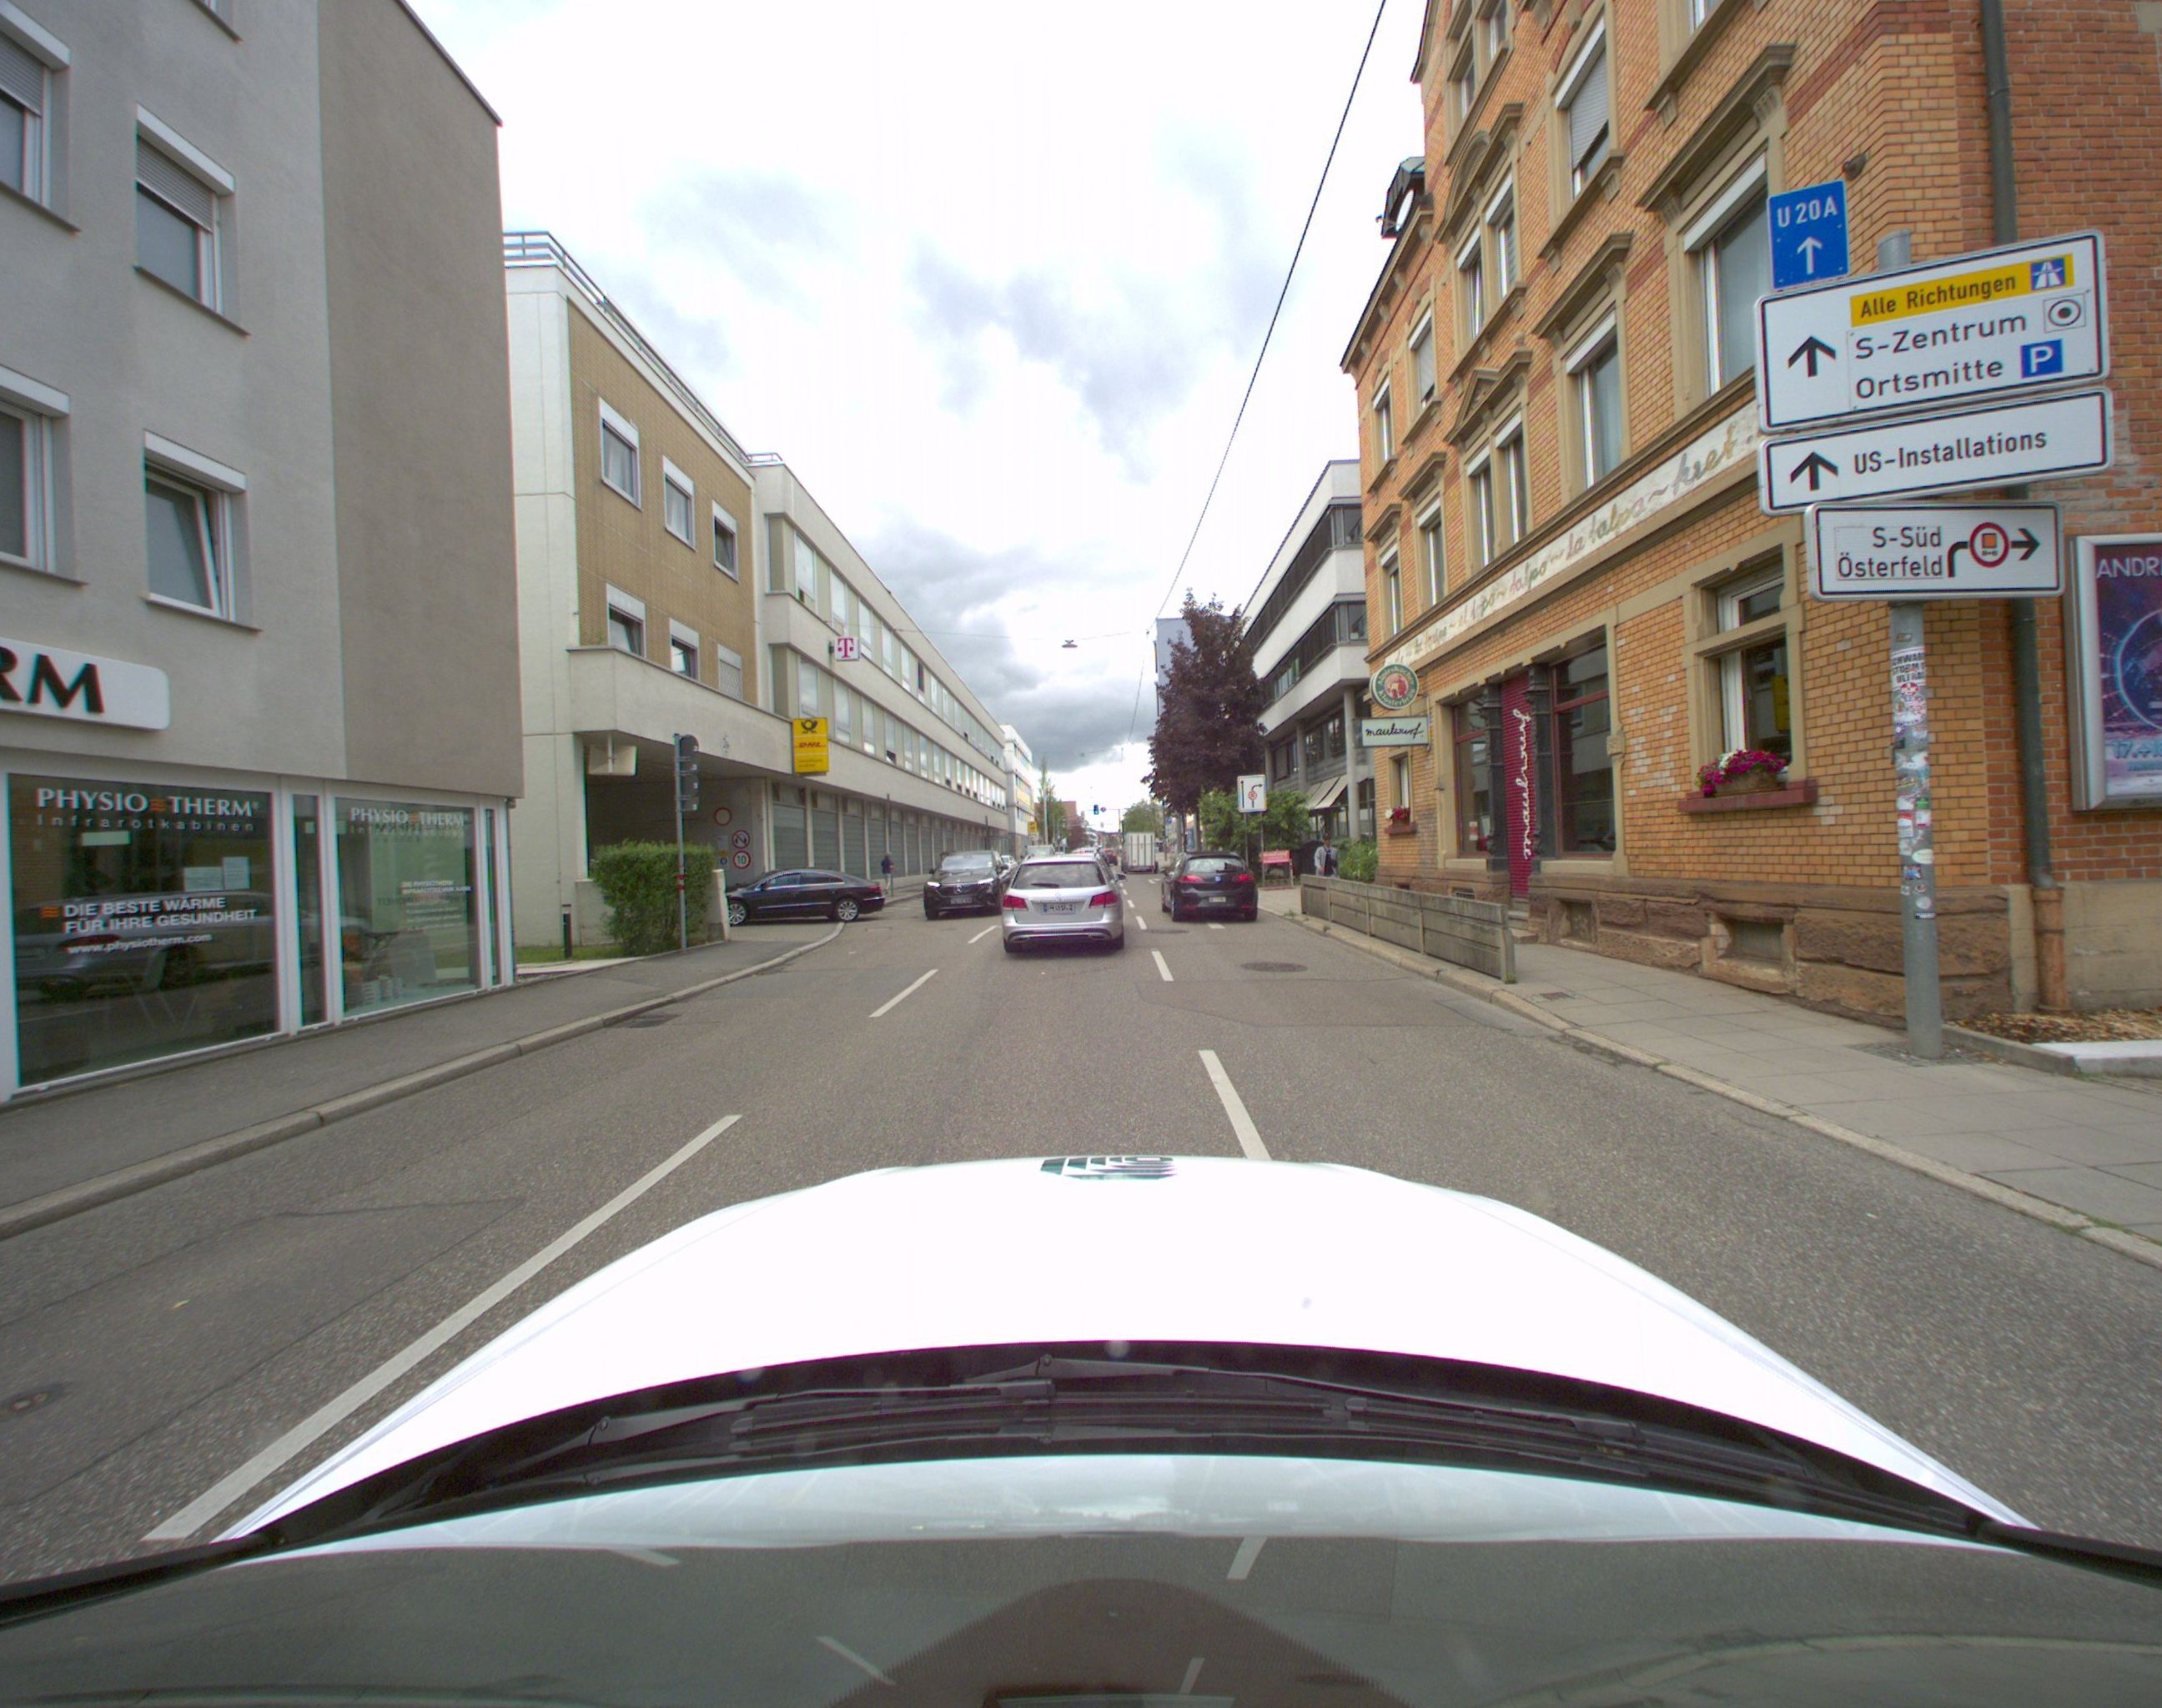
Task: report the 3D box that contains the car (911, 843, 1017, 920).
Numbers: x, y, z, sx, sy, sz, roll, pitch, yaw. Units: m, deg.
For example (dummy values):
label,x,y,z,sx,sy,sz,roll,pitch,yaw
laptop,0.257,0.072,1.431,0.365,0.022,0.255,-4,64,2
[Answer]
label,x,y,z,sx,sy,sz,roll,pitch,yaw
car,-3.013,0.647,22.003,1.987,1.738,4.554,-4,0,1

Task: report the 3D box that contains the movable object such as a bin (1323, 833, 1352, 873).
label,x,y,z,sx,sy,sz,roll,pitch,yaw
movable object such as a bin,10.215,-0.034,32.421,0.817,1.504,0.732,-5,-1,2

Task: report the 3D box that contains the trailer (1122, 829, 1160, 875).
label,x,y,z,sx,sy,sz,roll,pitch,yaw
trailer,3.649,-0.157,50.347,1.986,2.607,5.350,-2,0,1

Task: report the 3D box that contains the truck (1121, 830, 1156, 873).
label,x,y,z,sx,sy,sz,roll,pitch,yaw
truck,3.698,-0.185,53.110,1.986,2.607,3.261,-2,0,1

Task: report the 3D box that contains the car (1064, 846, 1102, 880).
label,x,y,z,sx,sy,sz,roll,pitch,yaw
car,0.151,0.402,41.297,1.797,1.601,3.738,-1,0,1

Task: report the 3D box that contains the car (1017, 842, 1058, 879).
label,x,y,z,sx,sy,sz,roll,pitch,yaw
car,-2.580,0.342,49.532,1.986,2.013,4.903,-4,0,1

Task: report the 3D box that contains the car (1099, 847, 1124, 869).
label,x,y,z,sx,sy,sz,roll,pitch,yaw
car,2.326,0.318,62.946,1.797,1.601,3.738,-1,0,1

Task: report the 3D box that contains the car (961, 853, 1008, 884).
label,x,y,z,sx,sy,sz,roll,pitch,yaw
car,-5.227,0.770,44.618,1.986,1.516,4.176,-2,0,1

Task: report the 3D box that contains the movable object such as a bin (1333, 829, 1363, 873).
label,x,y,z,sx,sy,sz,roll,pitch,yaw
movable object such as a bin,10.129,-0.096,30.909,0.817,1.589,0.732,-5,-1,2

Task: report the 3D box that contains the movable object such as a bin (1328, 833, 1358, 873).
label,x,y,z,sx,sy,sz,roll,pitch,yaw
movable object such as a bin,10.186,-0.038,31.663,0.817,1.490,0.732,-5,-1,2

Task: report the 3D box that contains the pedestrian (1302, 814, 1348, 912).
label,x,y,z,sx,sy,sz,roll,pitch,yaw
pedestrian,5.167,0.182,17.287,0.691,2.013,0.676,-2,0,0

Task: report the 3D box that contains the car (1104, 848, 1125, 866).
label,x,y,z,sx,sy,sz,roll,pitch,yaw
car,3.036,0.262,75.110,1.797,1.601,3.738,-1,0,1

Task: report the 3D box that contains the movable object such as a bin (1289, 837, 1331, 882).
label,x,y,z,sx,sy,sz,roll,pitch,yaw
movable object such as a bin,7.959,0.187,28.318,0.940,1.470,1.445,-4,0,-1

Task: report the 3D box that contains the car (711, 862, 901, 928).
label,x,y,z,sx,sy,sz,roll,pitch,yaw
car,-7.092,0.994,21.105,4.424,1.365,1.769,-2,0,-28

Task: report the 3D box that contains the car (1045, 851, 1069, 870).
label,x,y,z,sx,sy,sz,roll,pitch,yaw
car,-2.034,0.525,70.026,1.763,1.413,4.176,-4,0,1

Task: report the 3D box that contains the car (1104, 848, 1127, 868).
label,x,y,z,sx,sy,sz,roll,pitch,yaw
car,2.918,0.319,69.783,1.797,1.601,3.738,-1,0,1

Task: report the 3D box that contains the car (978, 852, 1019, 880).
label,x,y,z,sx,sy,sz,roll,pitch,yaw
car,-5.027,0.714,50.323,1.986,1.516,4.176,-2,0,1

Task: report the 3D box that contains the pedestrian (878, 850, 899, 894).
label,x,y,z,sx,sy,sz,roll,pitch,yaw
pedestrian,-8.075,0.742,34.198,0.640,1.769,0.810,-2,0,1

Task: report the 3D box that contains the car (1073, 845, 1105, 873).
label,x,y,z,sx,sy,sz,roll,pitch,yaw
car,0.501,0.284,49.011,1.797,1.601,3.738,-1,0,1

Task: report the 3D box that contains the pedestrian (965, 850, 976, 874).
label,x,y,z,sx,sy,sz,roll,pitch,yaw
pedestrian,-7.898,0.570,58.195,0.653,1.623,0.681,-2,0,2

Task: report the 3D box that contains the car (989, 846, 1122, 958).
label,x,y,z,sx,sy,sz,roll,pitch,yaw
car,-0.321,0.657,13.270,1.797,1.492,3.738,-2,0,1

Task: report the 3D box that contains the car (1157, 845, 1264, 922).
label,x,y,z,sx,sy,sz,roll,pitch,yaw
car,2.707,0.564,17.841,1.759,1.433,3.829,-2,0,1

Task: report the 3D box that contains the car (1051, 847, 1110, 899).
label,x,y,z,sx,sy,sz,roll,pitch,yaw
car,0.027,0.591,27.507,1.797,1.553,3.738,-2,0,1
